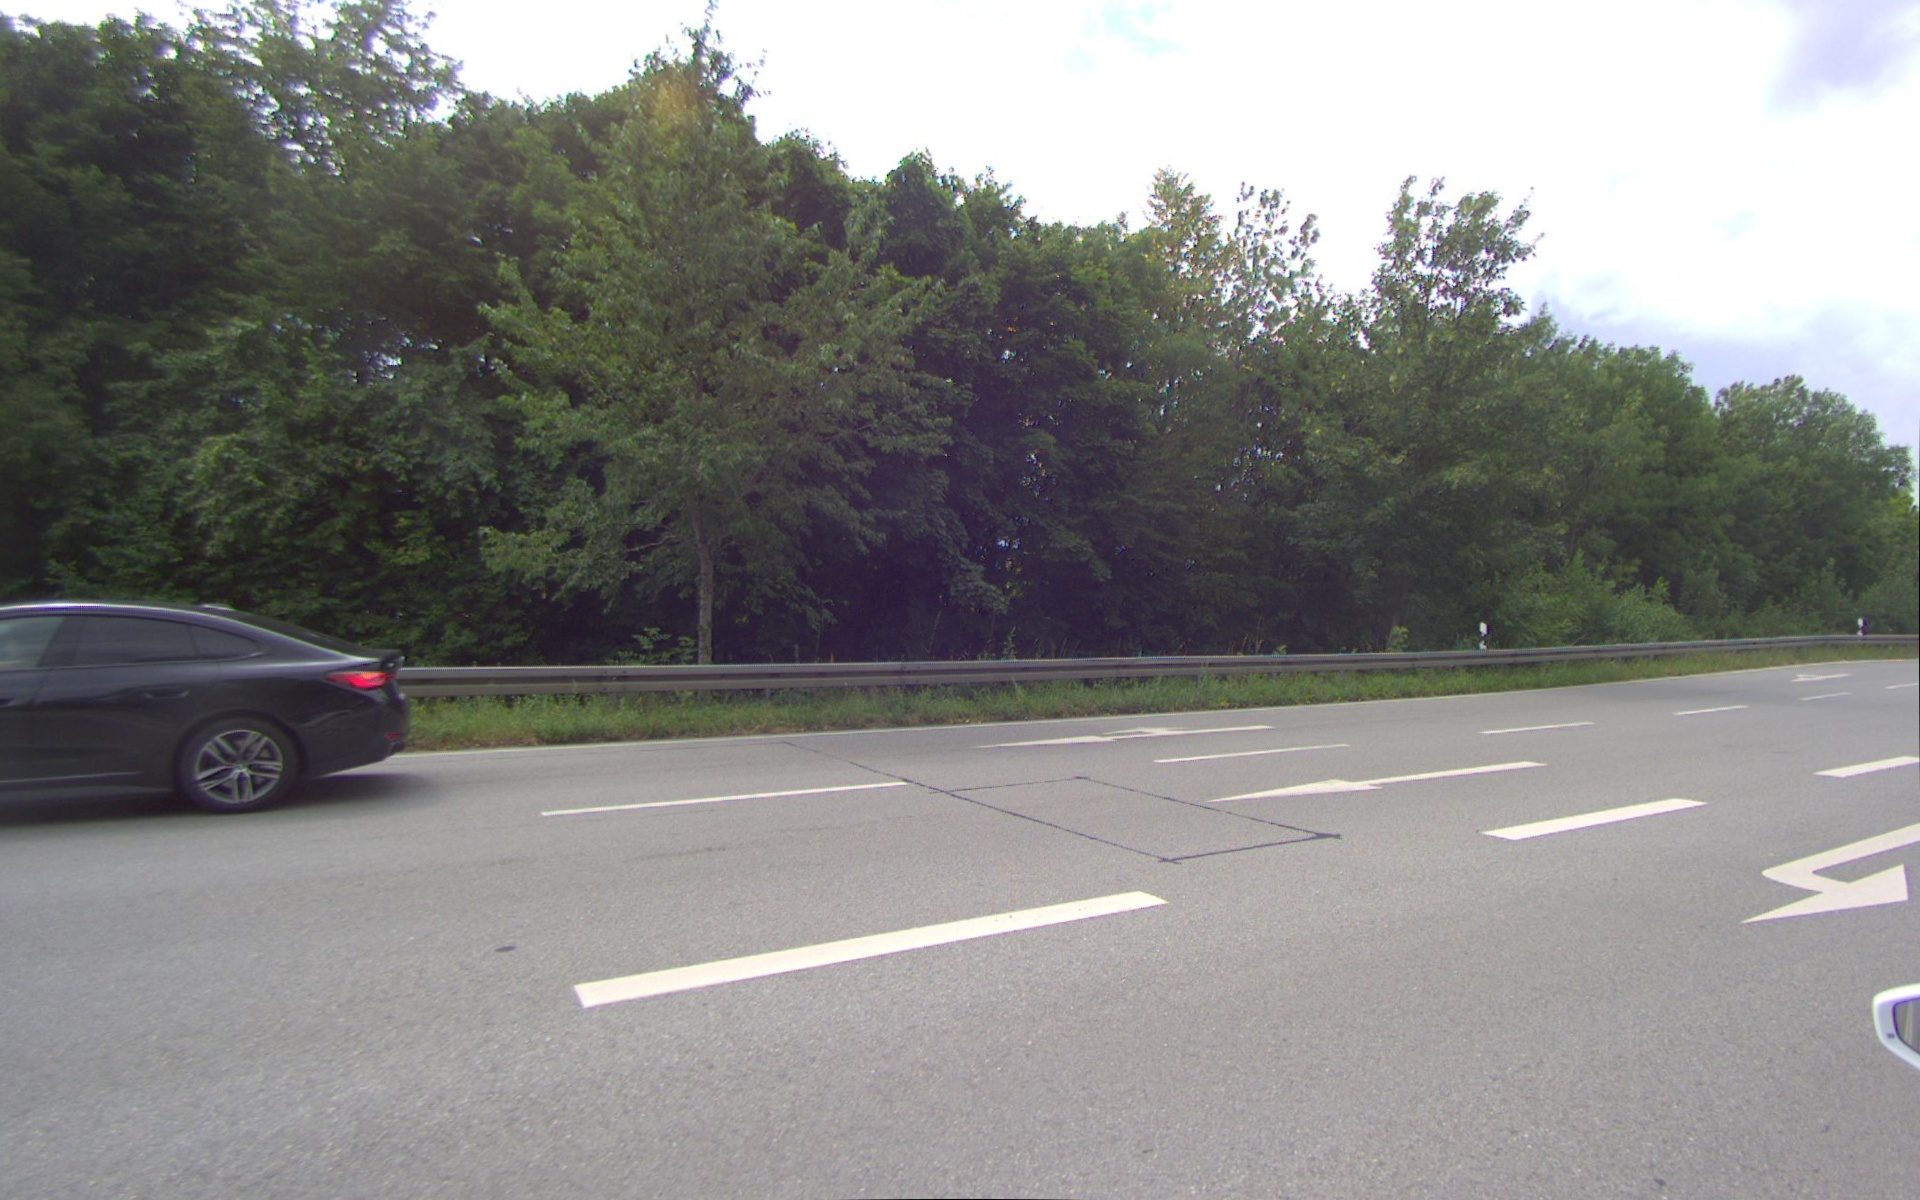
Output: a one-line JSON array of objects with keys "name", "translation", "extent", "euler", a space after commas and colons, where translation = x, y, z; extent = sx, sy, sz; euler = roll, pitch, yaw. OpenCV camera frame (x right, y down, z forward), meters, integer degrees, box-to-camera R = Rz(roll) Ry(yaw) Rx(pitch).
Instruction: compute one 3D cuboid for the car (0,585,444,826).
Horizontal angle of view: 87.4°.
[{"name": "car", "translation": [-6.271, 0.669, 7.185], "extent": [4.496, 1.518, 1.708], "euler": [1, 0, -31]}]
